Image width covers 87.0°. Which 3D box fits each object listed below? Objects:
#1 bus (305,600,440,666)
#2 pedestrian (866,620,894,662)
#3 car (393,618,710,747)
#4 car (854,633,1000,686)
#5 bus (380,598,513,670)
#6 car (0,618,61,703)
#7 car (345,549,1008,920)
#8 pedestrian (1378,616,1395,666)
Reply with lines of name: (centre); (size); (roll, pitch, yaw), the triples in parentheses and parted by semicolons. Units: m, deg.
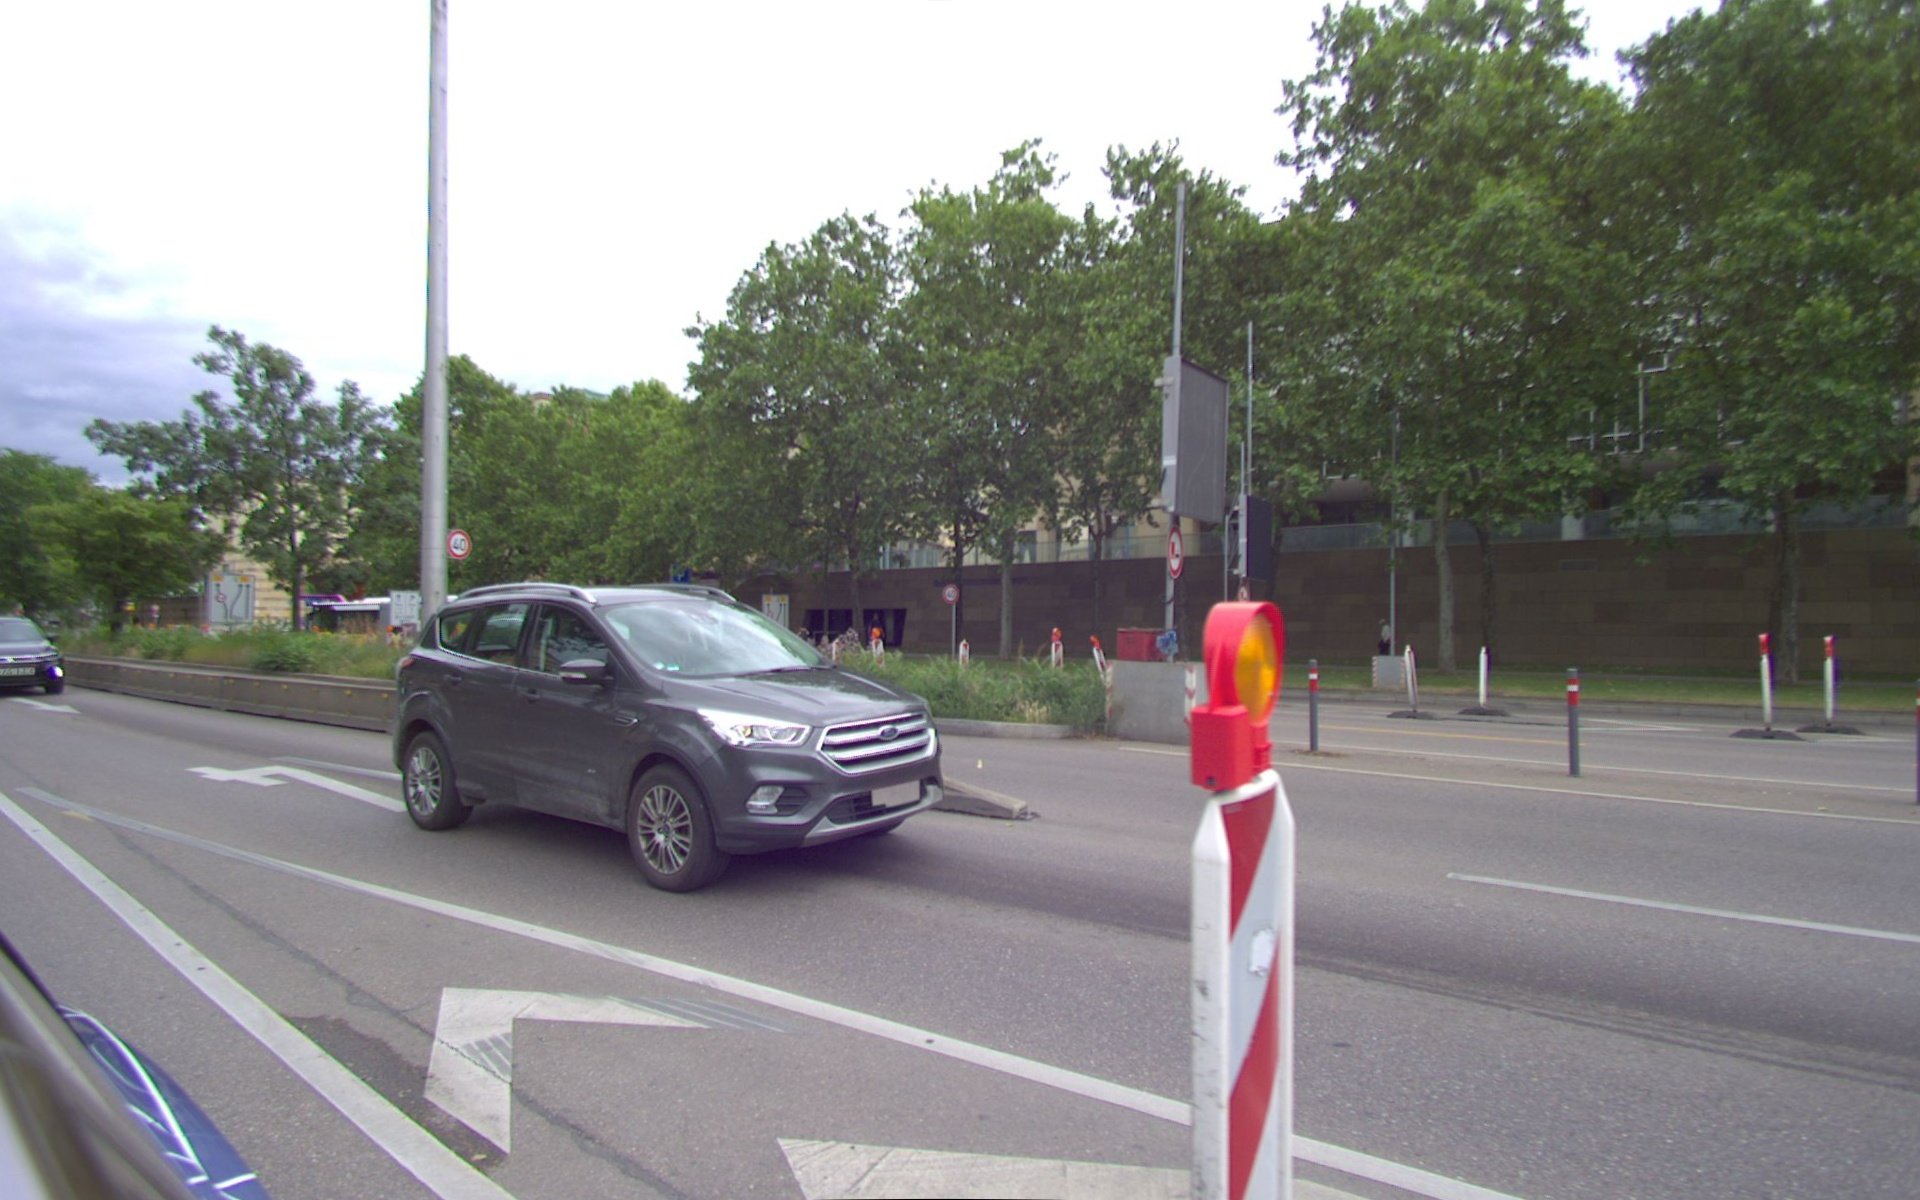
bus: (-32.703, 1.781, 56.083); (10.437, 3.330, 2.884); (-1, -2, 39)
pedestrian: (-3.603, 1.855, 45.764); (0.987, 1.869, 0.714); (0, -3, 39)
car: (-5.763, 1.010, 14.018); (4.803, 1.494, 1.974); (-1, -2, 38)
car: (-0.978, 1.625, 28.317); (3.997, 1.383, 1.708); (-2, -3, 40)
bus: (-25.646, 1.670, 50.390); (7.696, 3.329, 2.894); (-1, -2, 38)
car: (-19.208, 1.140, 19.855); (4.149, 1.527, 1.745); (0, 0, 40)
car: (-2.130, 0.673, 6.863); (4.649, 1.728, 1.876); (-2, -1, 36)
pedestrian: (13.980, 1.339, 33.183); (0.443, 1.619, 0.351); (0, 1, 33)
